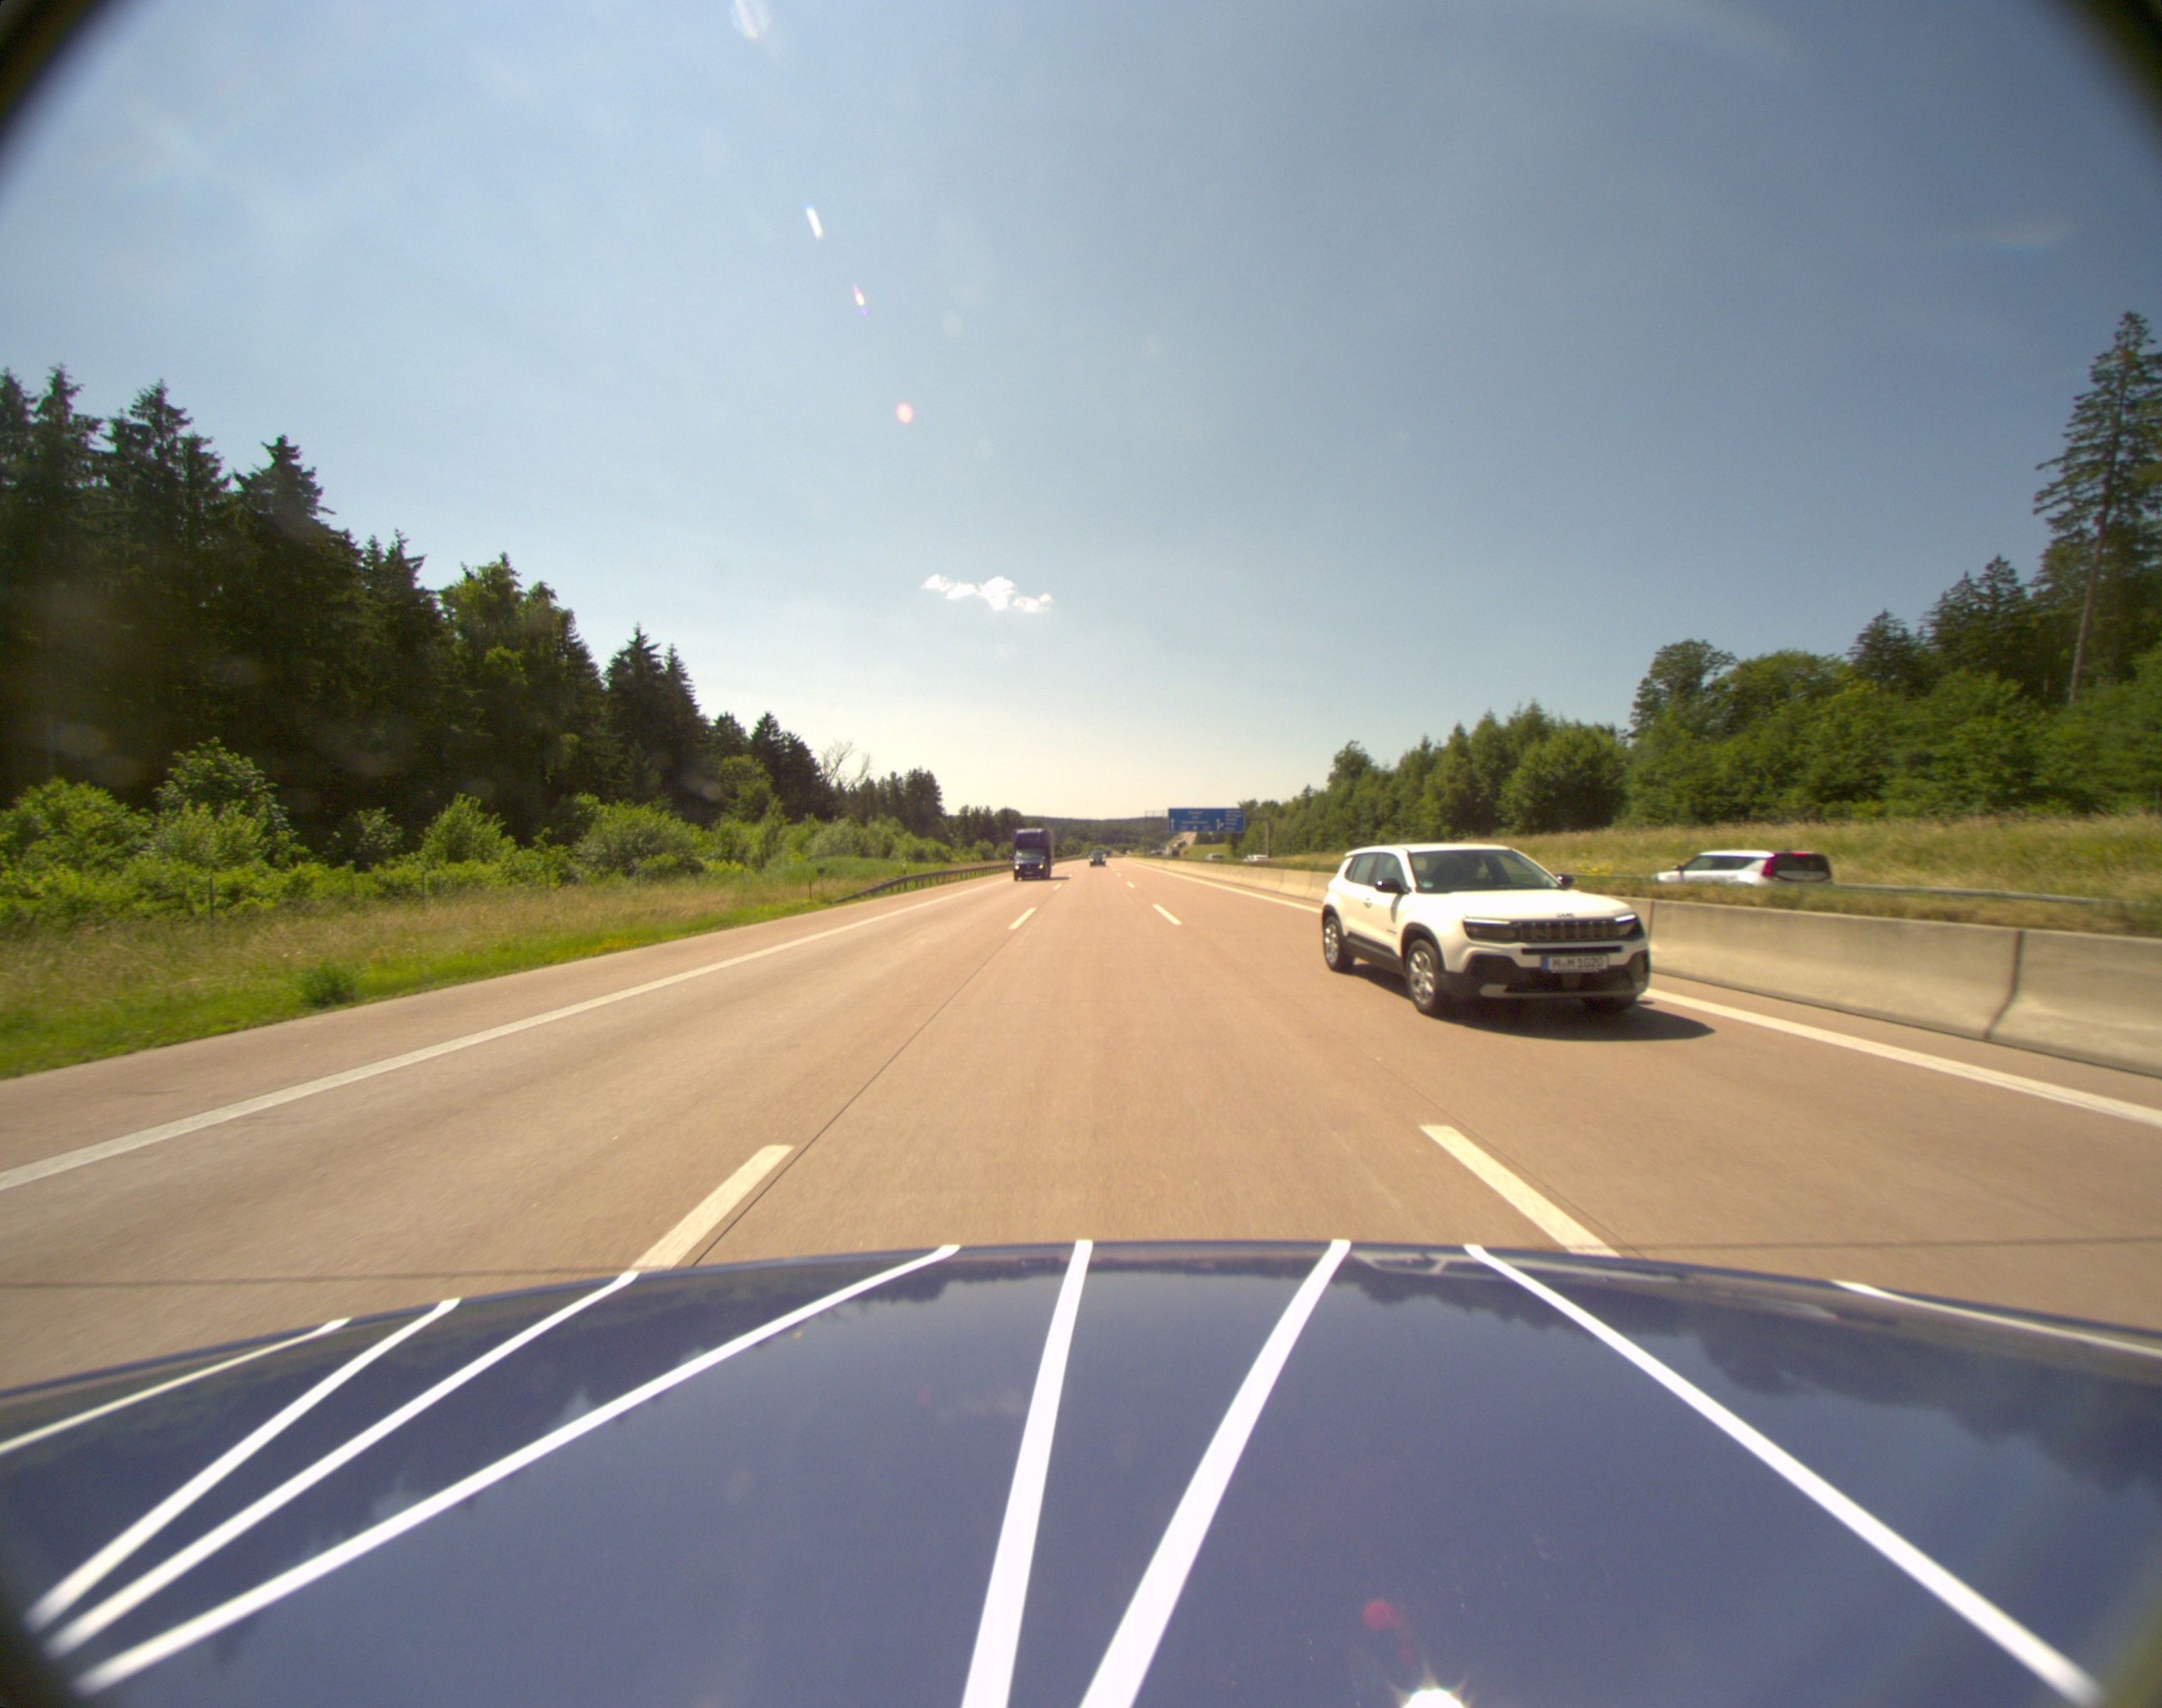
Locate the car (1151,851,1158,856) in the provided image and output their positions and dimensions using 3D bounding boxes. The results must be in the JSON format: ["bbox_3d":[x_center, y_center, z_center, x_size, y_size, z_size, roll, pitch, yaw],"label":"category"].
[{"bbox_3d":[24.540,-0.300,253.167,1.895,1.645,4.000,-2,0,1],"label":"car"}]

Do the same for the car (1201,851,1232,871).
[{"bbox_3d":[12.602,0.599,70.817,1.896,1.728,4.462,-2,0,-3],"label":"car"}]

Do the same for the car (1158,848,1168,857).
[{"bbox_3d":[24.163,-0.501,223.782,2.238,2.670,6.098,-2,0,1],"label":"car"}]

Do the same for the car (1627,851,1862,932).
[{"bbox_3d":[16.149,0.818,18.876,1.896,1.728,4.463,-2,0,-1],"label":"car"}]

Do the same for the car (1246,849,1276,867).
[{"bbox_3d":[16.928,0.398,71.672,1.895,1.584,4.464,-2,0,1],"label":"car"}]

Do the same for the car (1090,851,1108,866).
[{"bbox_3d":[2.249,0.507,92.976,1.998,1.805,4.565,-2,0,3],"label":"car"}]

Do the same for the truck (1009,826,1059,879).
[{"bbox_3d":[-2.948,-0.098,49.909,2.508,3.199,7.785,-1,0,2],"label":"truck"}]

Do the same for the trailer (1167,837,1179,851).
[{"bbox_3d":[28.898,-3.104,238.563,2.709,4.408,13.194,-2,0,3],"label":"trailer"}]

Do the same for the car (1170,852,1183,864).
[{"bbox_3d":[22.166,1.004,176.629,2.238,2.670,6.887,-2,0,1],"label":"car"}]

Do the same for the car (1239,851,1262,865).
[{"bbox_3d":[20.217,0.495,90.759,1.895,1.584,4.464,-2,0,1],"label":"car"}]

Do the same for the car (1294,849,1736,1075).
[{"bbox_3d":[3.829,0.768,7.930,1.883,1.598,4.833,-2,0,1],"label":"car"}]
